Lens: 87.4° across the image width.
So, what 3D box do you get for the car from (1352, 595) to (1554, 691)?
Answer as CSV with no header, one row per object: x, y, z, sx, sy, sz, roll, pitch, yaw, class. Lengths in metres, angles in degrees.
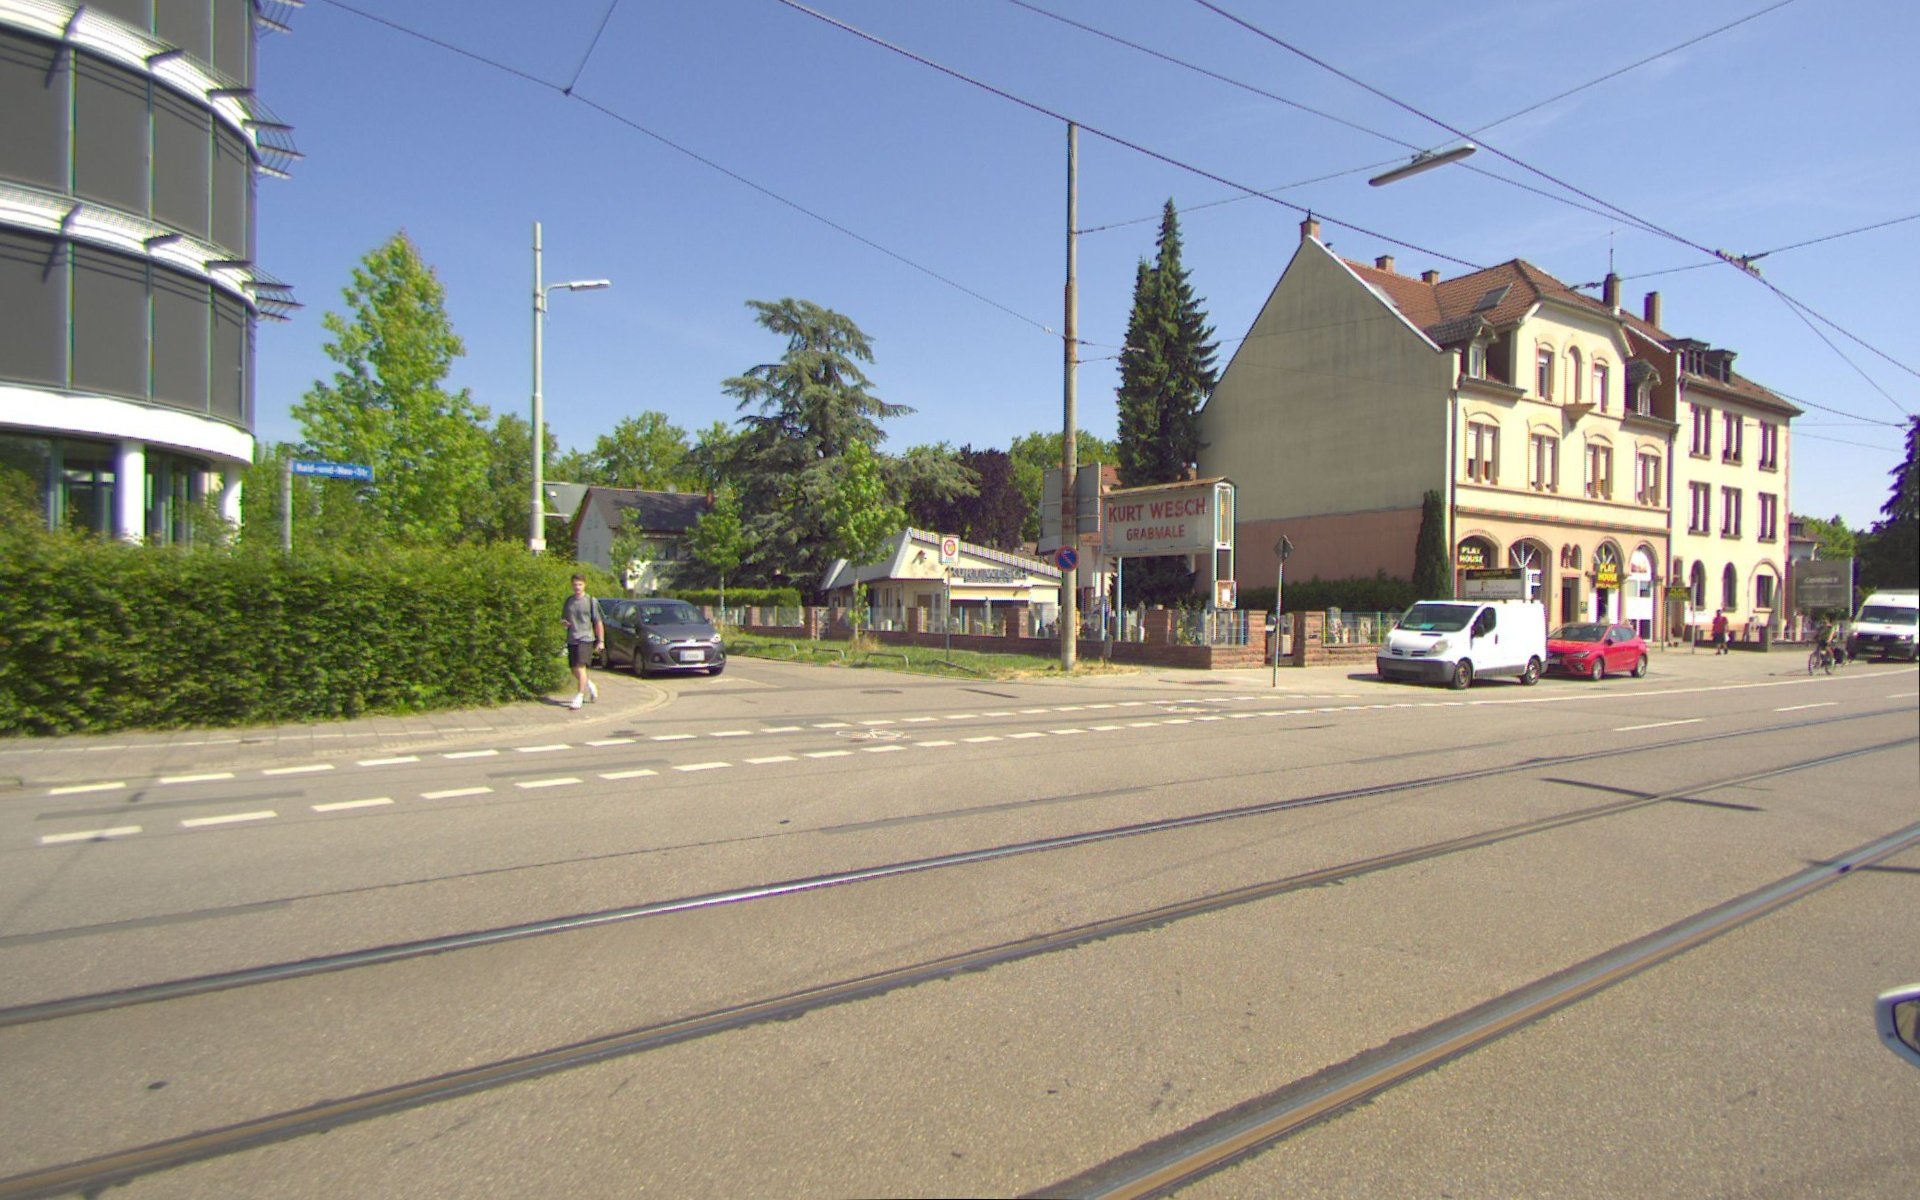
11.643,0.958,23.638,4.855,2.040,2.072,1,0,-33,car

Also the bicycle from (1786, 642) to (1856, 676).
25.529,1.757,29.777,2.131,0.996,0.608,1,-3,-21,bicycle

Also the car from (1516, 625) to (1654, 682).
16.894,1.390,27.117,3.959,1.425,1.710,1,-1,-34,car

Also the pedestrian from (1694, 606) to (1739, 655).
28.786,1.147,38.221,1.114,1.839,0.939,1,0,-25,pedestrian

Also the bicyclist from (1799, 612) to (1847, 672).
25.552,1.234,29.757,0.973,1.747,0.715,1,-1,-22,bicyclist

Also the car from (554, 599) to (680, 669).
-8.385,0.778,24.350,1.797,1.539,4.128,1,-1,-35,car

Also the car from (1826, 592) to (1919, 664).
36.838,1.073,39.634,6.437,2.570,2.315,1,1,-33,car

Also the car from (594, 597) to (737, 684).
-6.032,0.740,20.356,1.688,1.548,3.659,1,1,-35,car

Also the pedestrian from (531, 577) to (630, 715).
-5.264,0.622,13.993,0.874,1.842,1.074,0,-1,7,pedestrian
